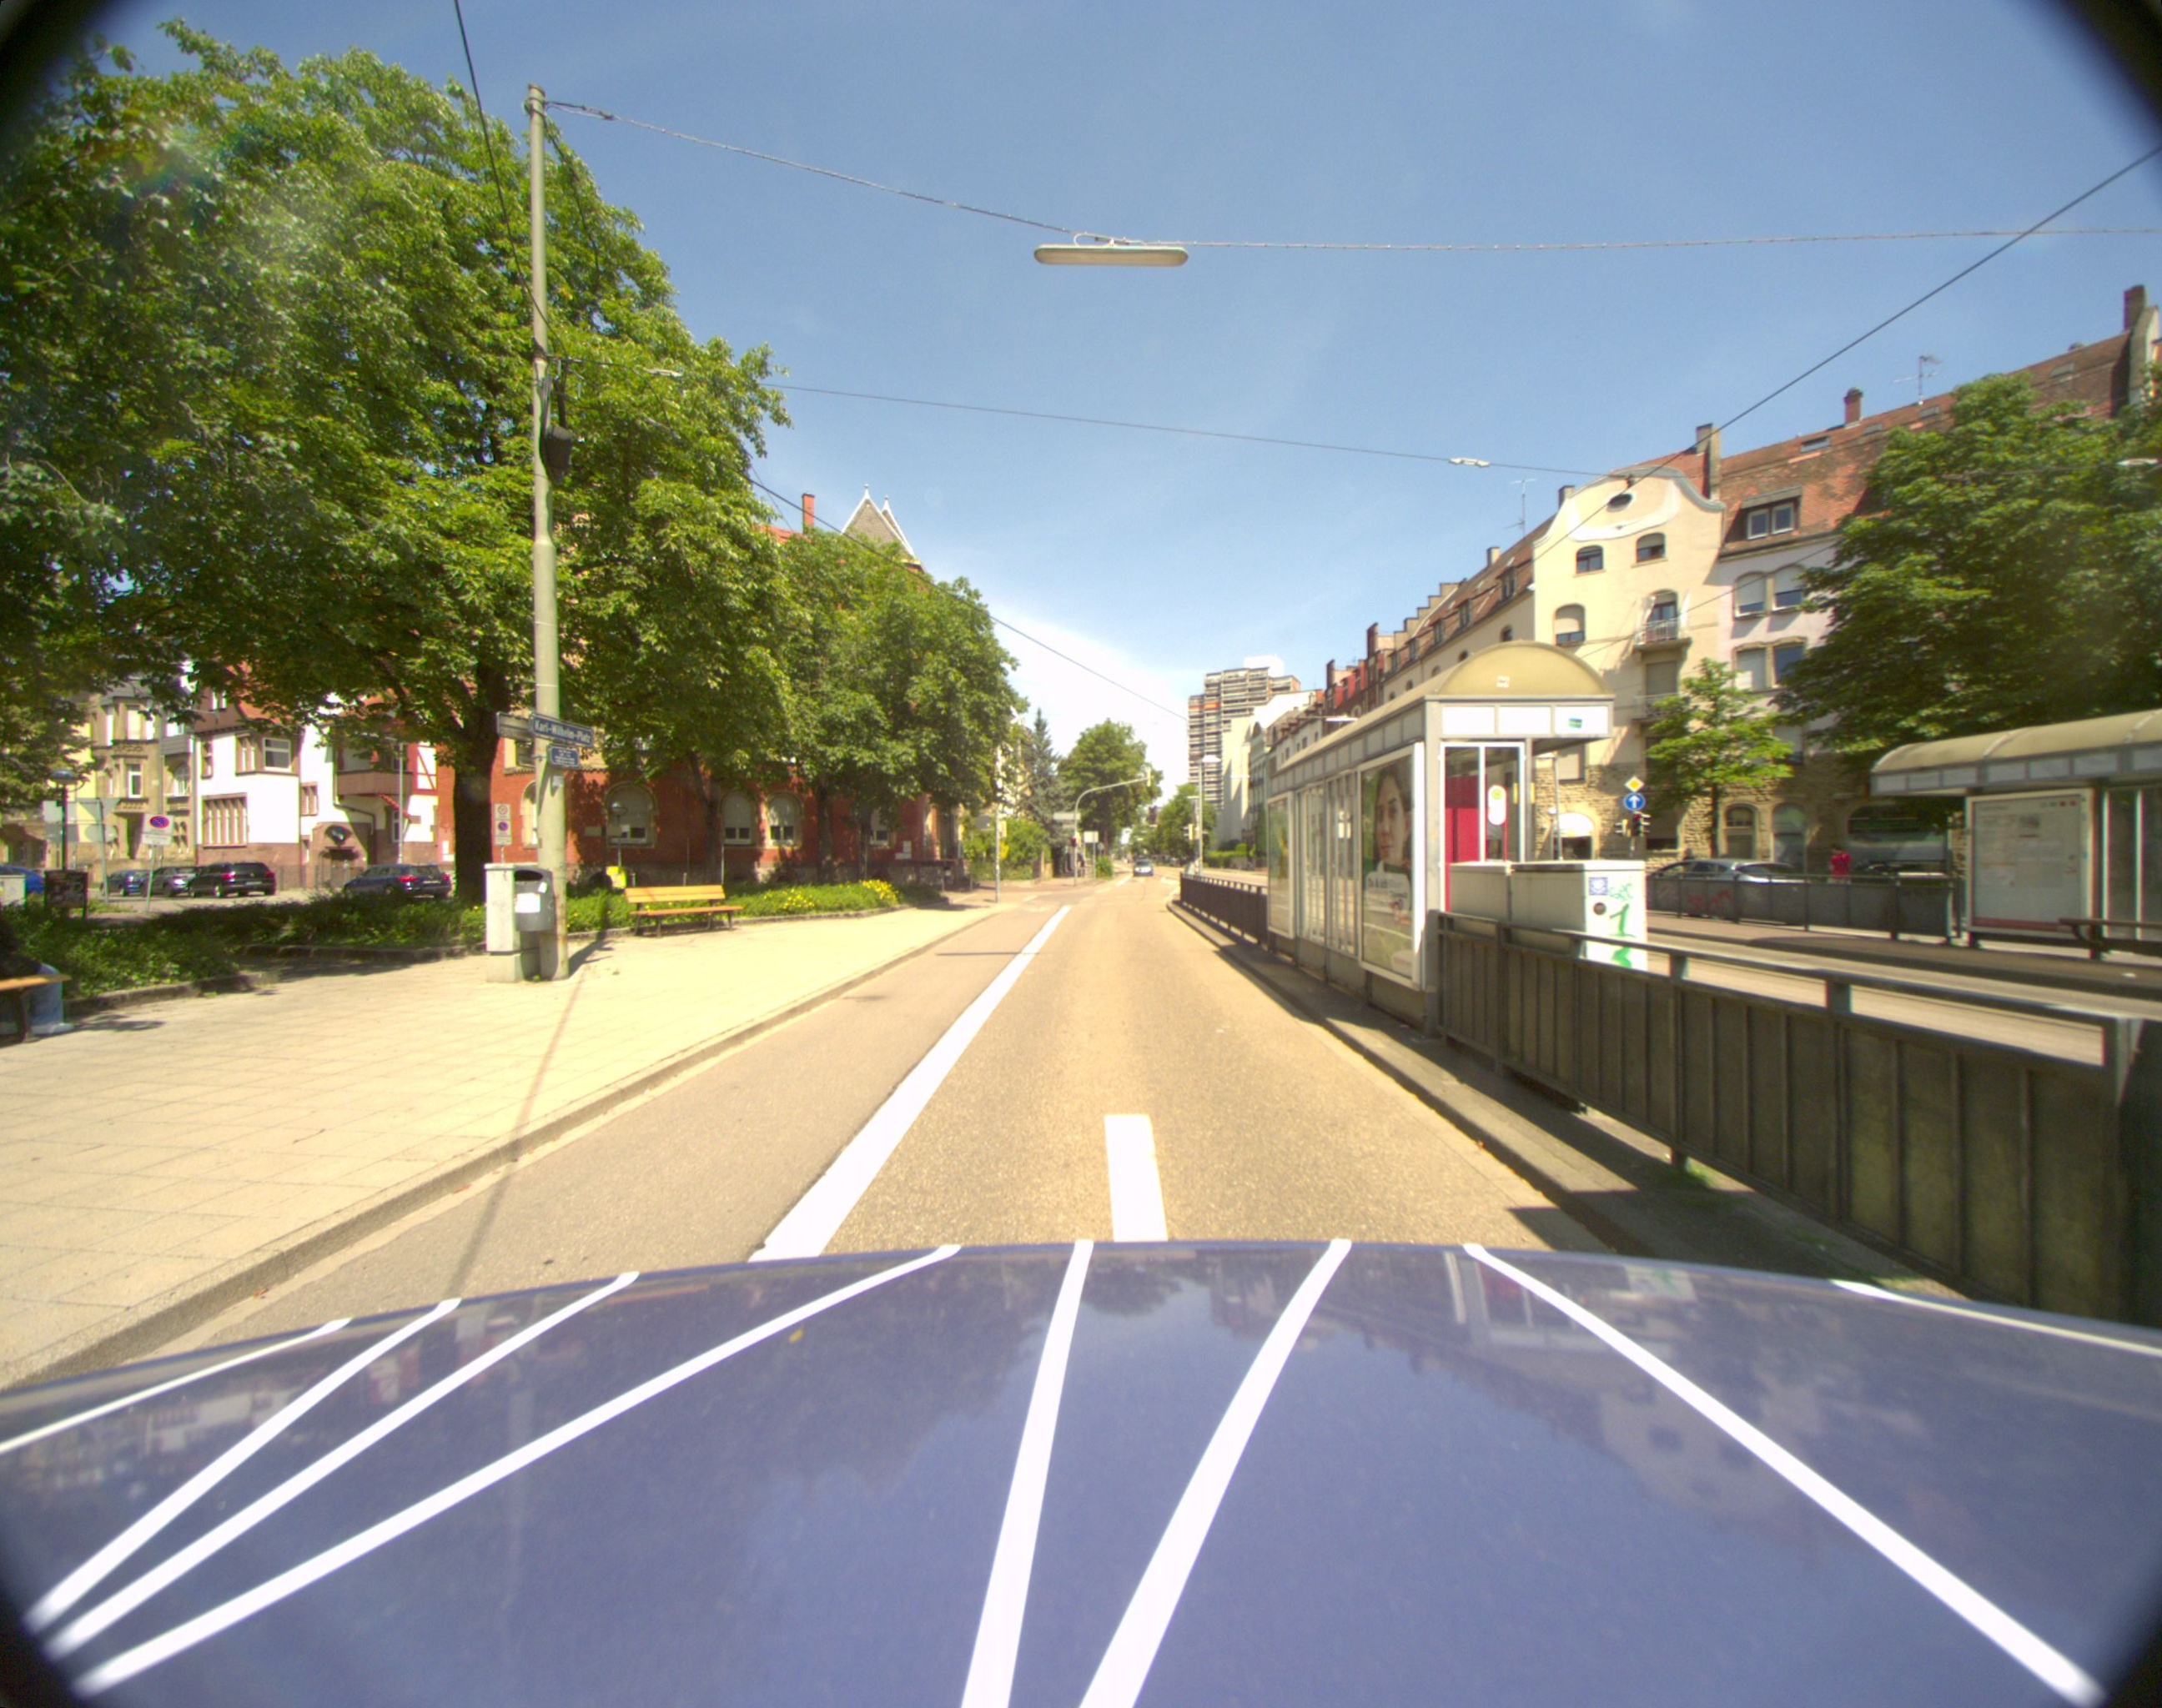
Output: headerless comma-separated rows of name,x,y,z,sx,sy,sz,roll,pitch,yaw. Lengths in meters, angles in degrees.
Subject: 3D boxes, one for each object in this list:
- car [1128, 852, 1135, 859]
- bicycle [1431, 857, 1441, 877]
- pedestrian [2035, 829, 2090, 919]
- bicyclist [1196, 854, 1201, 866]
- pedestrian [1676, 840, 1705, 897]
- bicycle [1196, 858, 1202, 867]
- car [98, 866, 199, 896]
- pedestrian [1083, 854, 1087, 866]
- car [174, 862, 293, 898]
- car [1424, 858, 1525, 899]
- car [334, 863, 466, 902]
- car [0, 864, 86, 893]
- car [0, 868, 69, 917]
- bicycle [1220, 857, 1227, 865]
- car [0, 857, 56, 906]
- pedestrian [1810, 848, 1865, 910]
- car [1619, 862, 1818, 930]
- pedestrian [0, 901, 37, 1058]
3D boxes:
car,17.177,0.483,257.873,1.998,2.002,4.000,-1,1,1
bicycle,22.866,0.846,48.950,0.454,1.218,2.083,-1,1,21
pedestrian,20.921,0.420,16.203,0.511,1.868,0.494,-1,1,6
bicyclist,16.162,0.819,104.170,0.609,1.565,0.585,-1,1,1
pedestrian,19.563,0.466,24.395,0.511,1.812,0.494,-1,1,3
bicycle,16.153,1.155,104.146,0.629,1.150,1.978,-1,0,1
car,-48.623,1.396,39.630,4.605,1.456,1.908,-1,1,21
pedestrian,0.538,0.808,101.792,0.547,1.683,0.755,0,1,1
car,-40.067,1.214,35.894,5.477,1.523,1.991,-1,1,22
car,16.308,0.986,31.542,3.578,1.566,1.586,-1,1,33
car,-27.192,1.131,30.362,4.748,1.433,1.908,-1,1,21
car,-59.589,1.394,43.545,4.391,1.547,1.908,-1,1,21
car,-32.835,1.137,21.998,1.723,1.421,3.895,-1,-1,20
bicycle,19.131,0.917,101.888,0.493,1.090,2.047,-1,0,1
car,-37.201,0.929,24.704,1.723,1.642,4.273,-1,-1,20
pedestrian,19.998,0.659,20.102,0.681,1.596,0.773,-1,1,-2
car,14.662,0.898,17.765,1.544,1.331,3.718,-1,1,0
pedestrian,-7.790,0.876,5.242,0.510,1.085,0.478,1,0,7
